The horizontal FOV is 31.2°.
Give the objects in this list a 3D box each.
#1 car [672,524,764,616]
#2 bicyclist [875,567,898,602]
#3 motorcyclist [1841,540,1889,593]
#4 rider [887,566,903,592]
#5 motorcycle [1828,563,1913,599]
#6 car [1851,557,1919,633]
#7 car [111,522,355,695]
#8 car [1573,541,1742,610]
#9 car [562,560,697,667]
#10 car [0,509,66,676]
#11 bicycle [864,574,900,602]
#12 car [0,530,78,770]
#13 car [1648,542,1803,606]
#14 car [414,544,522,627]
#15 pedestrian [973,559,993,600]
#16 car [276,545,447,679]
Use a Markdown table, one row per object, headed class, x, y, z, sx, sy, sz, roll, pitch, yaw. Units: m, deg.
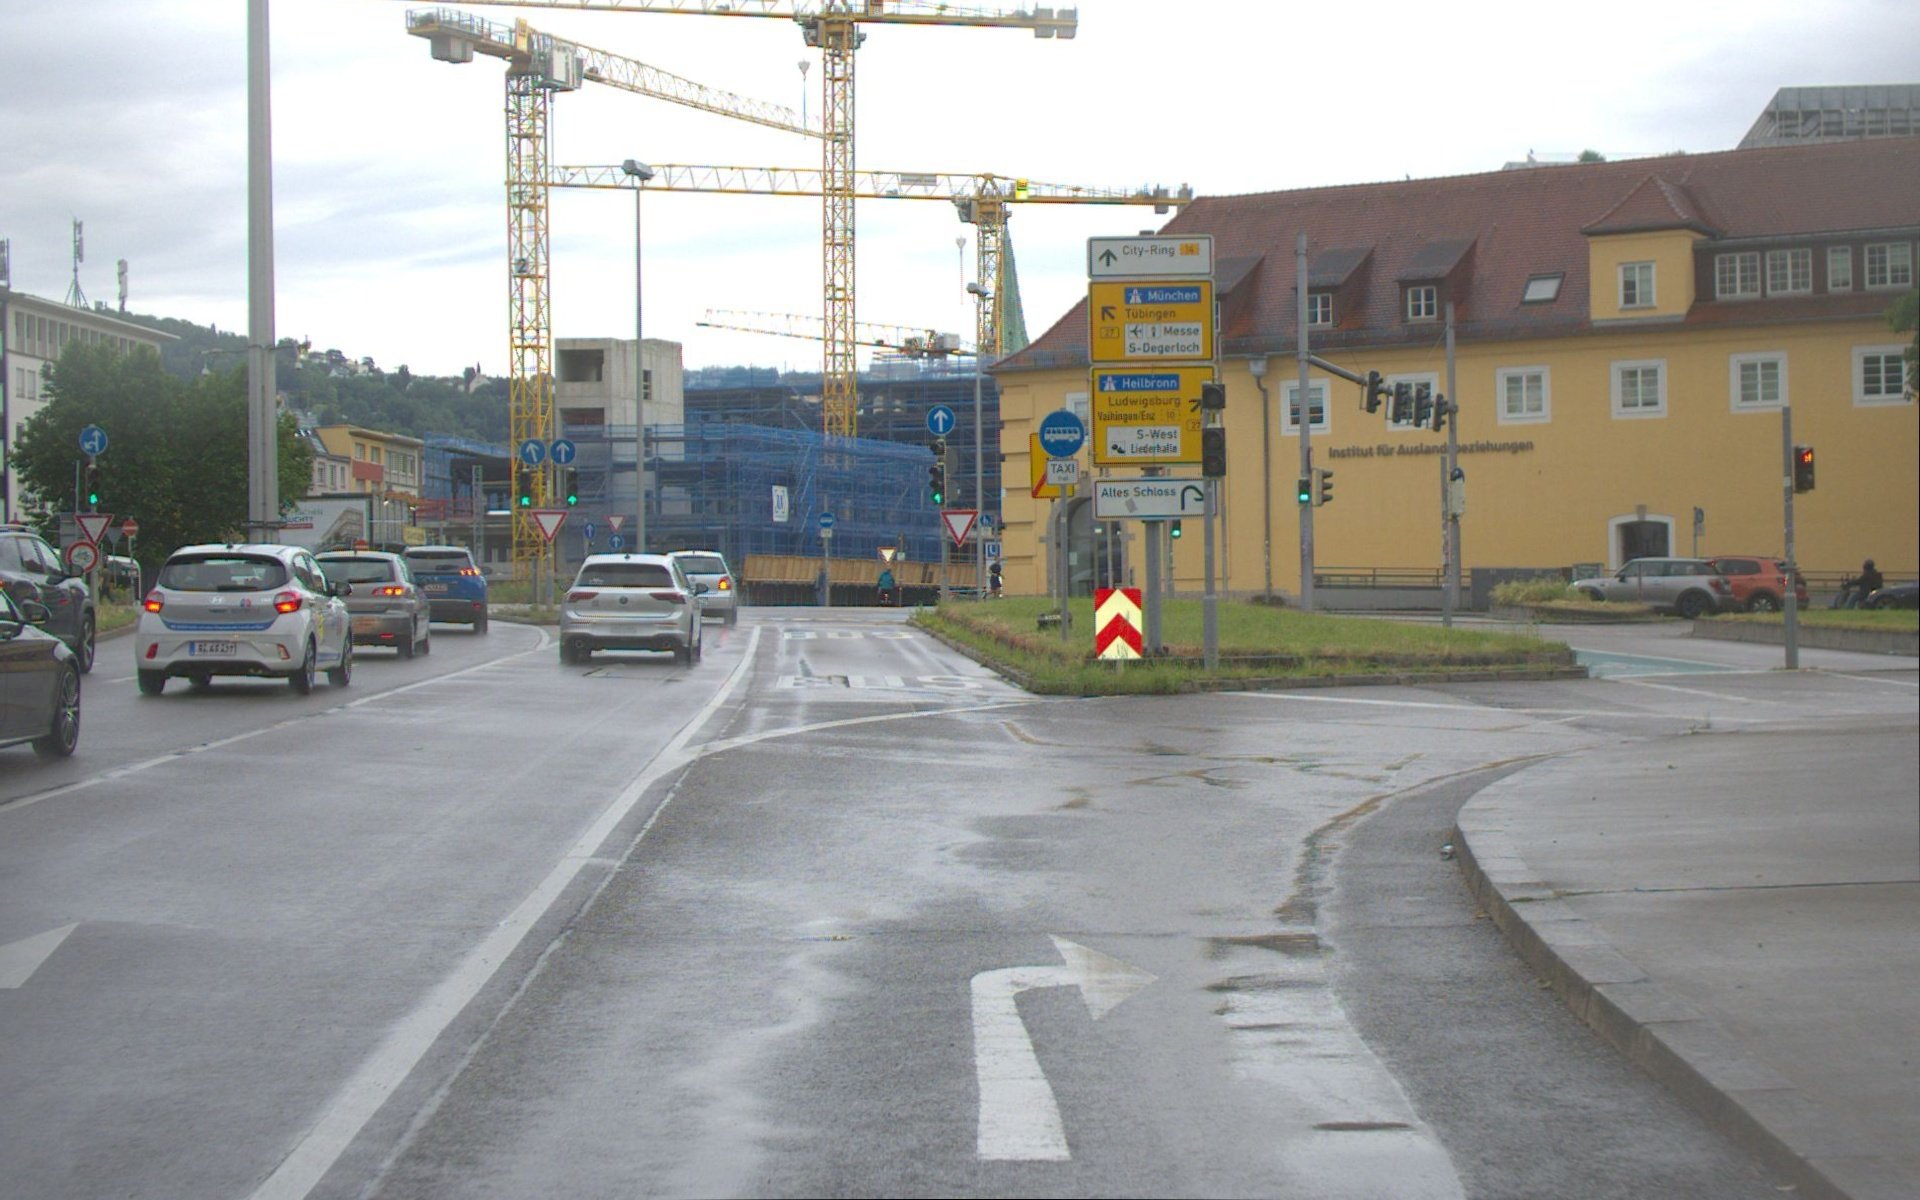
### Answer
| class | x | y | z | sx | sy | sz | roll | pitch | yaw |
| --- | --- | --- | --- | --- | --- | --- | --- | --- | --- |
| car | -4.797 | -0.617 | 68.410 | 1.667 | 1.735 | 3.288 | 1 | 1 | -2 |
| bicyclist | -2.758 | -0.589 | 129.307 | 0.703 | 1.271 | 0.635 | 1 | -2 | -16 |
| motorcyclist | 22.104 | -0.823 | 83.983 | 1.076 | 1.269 | 0.691 | 0 | -2 | 21 |
| rider | -2.698 | -0.859 | 141.878 | 0.619 | 1.035 | 0.533 | 1 | -2 | 2 |
| motorcycle | 22.266 | -0.460 | 84.058 | 1.966 | 0.850 | 0.545 | 0 | -2 | 22 |
| car | 23.192 | -0.117 | 79.106 | 4.814 | 1.703 | 1.995 | -1 | -2 | 42 |
| car | -7.296 | 0.123 | 34.805 | 1.880 | 1.647 | 3.458 | 1 | -1 | -3 |
| car | 15.774 | -0.537 | 77.778 | 3.406 | 1.477 | 1.832 | 0 | -2 | 25 |
| car | -4.383 | 0.200 | 45.788 | 1.444 | 1.354 | 2.411 | 1 | -1 | 3 |
| car | -10.645 | -0.051 | 36.729 | 1.464 | 1.700 | 3.141 | 1 | -1 | -2 |
| bicycle | -2.964 | -0.450 | 129.742 | 0.880 | 1.006 | 1.993 | 1 | -2 | -16 |
| car | -6.892 | 0.306 | 21.430 | 1.830 | 1.489 | 3.399 | 1 | 1 | 2 |
| car | 18.452 | -0.619 | 82.841 | 3.403 | 1.467 | 1.650 | 0 | -2 | 24 |
| car | -8.671 | -0.231 | 60.754 | 1.493 | 1.365 | 3.033 | 1 | -1 | -1 |
| pedestrian | 0.773 | -0.674 | 115.637 | 0.456 | 1.363 | 0.443 | -1 | -2 | 38 |
| car | -8.068 | 0.192 | 46.627 | 1.716 | 1.722 | 3.494 | 1 | -1 | -1 |
